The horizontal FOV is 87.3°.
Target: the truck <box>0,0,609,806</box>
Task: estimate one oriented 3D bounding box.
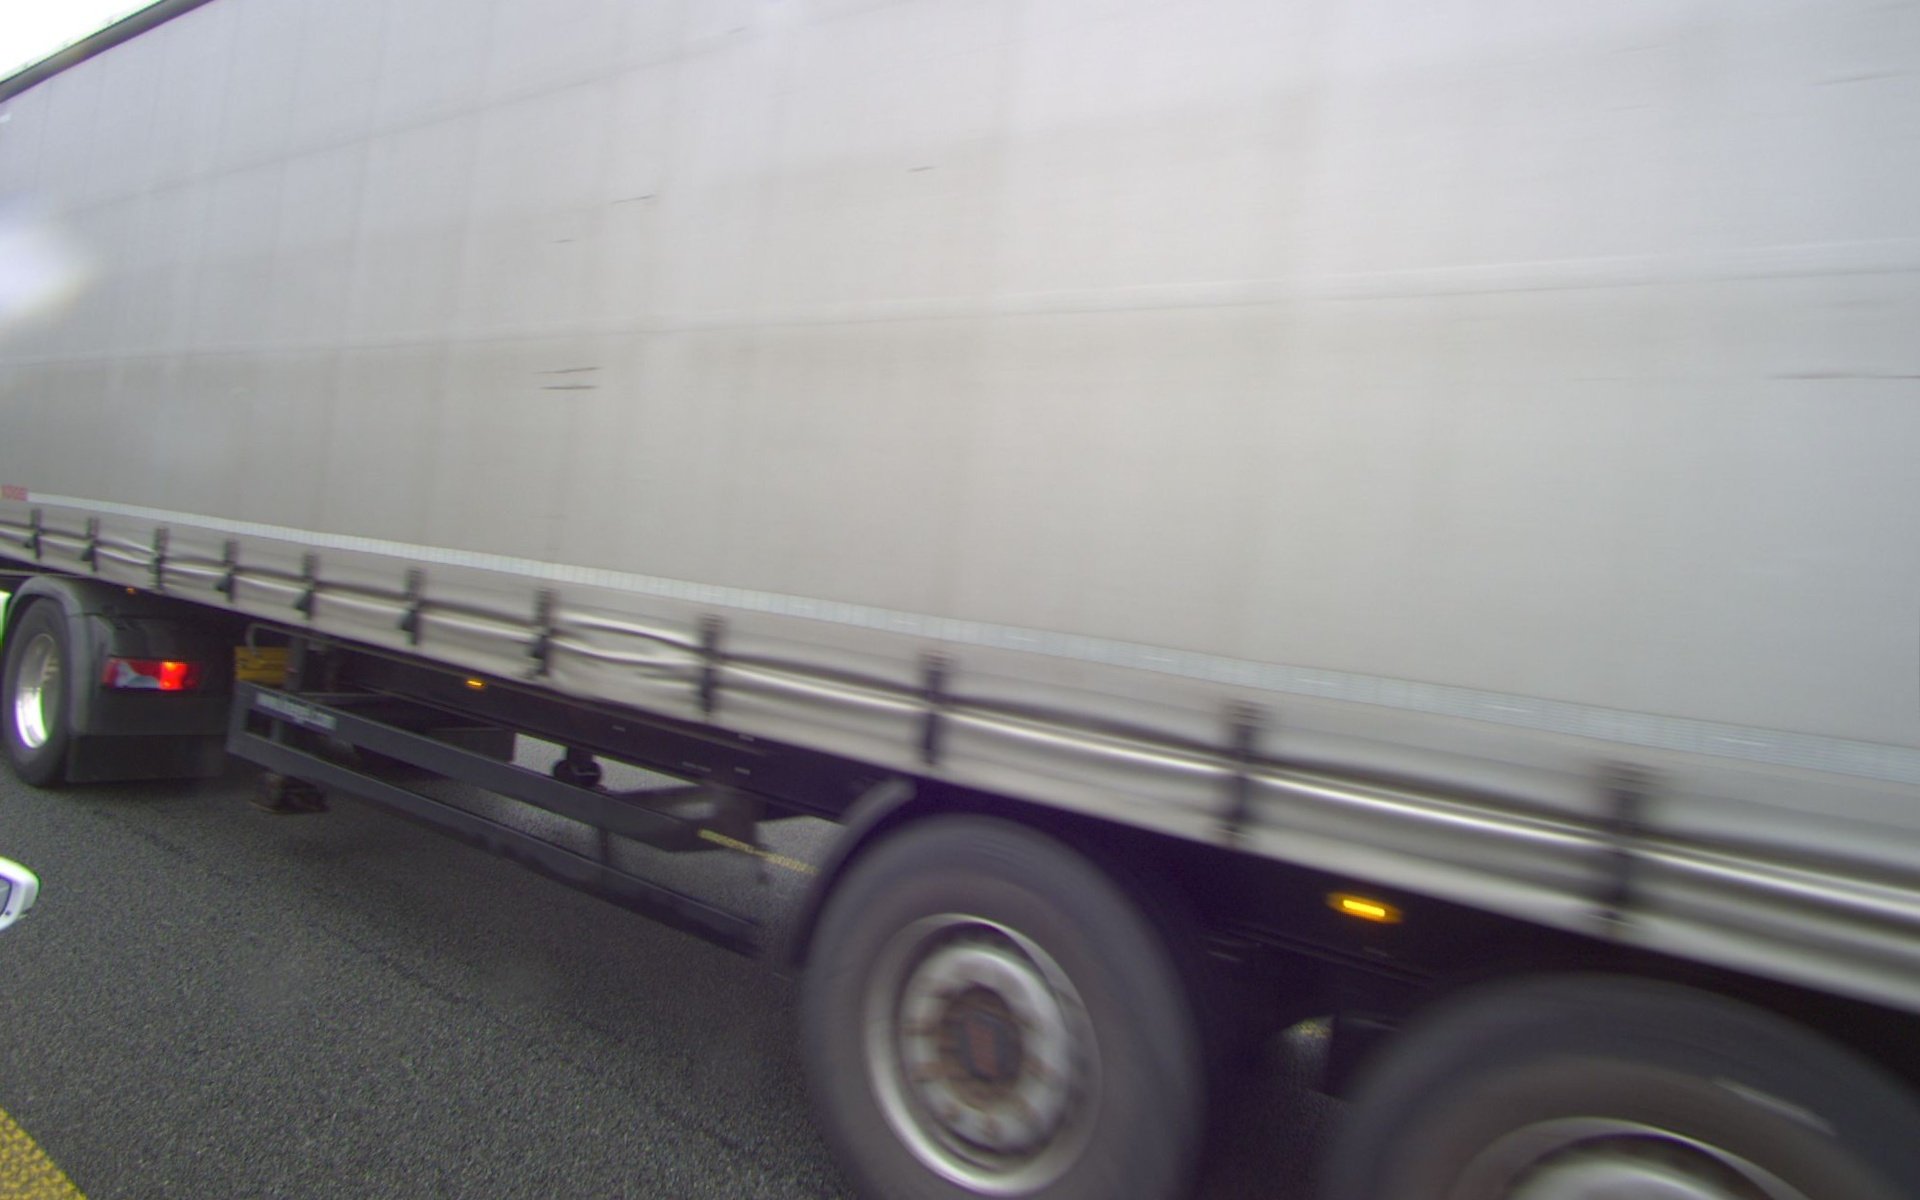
[{"bbox_3d":[-5.807,-1.245,7.493,5.596,4.188,2.710,7,0,32],"label":"truck"}]

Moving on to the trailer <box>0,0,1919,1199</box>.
[{"bbox_3d":[-0.313,-0.614,3.986,13.504,4.196,2.710,7,-1,32],"label":"trailer"}]
